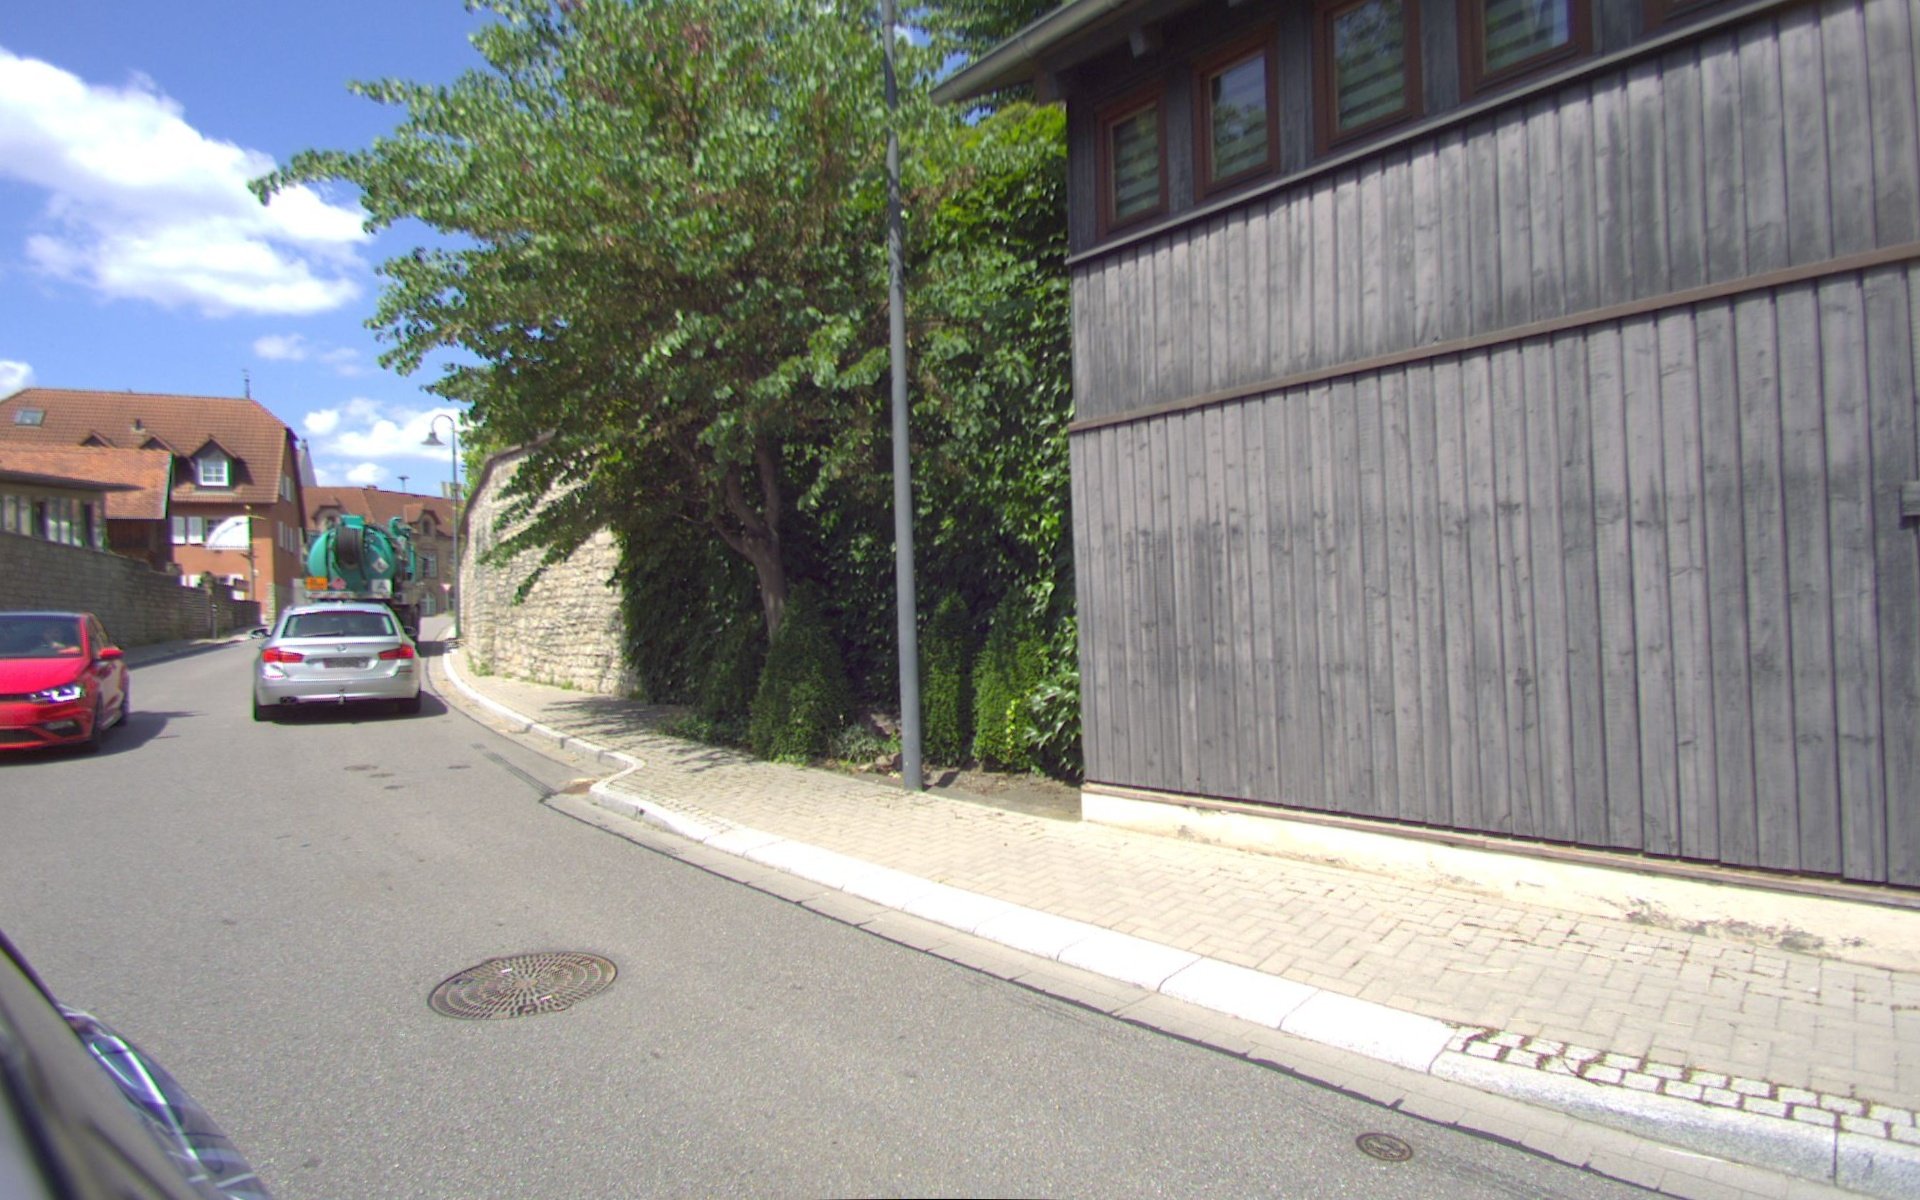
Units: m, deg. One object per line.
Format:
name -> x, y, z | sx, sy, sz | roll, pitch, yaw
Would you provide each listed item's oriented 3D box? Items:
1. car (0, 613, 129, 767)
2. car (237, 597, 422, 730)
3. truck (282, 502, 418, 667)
car -> -9.755, 0.833, 10.343 | 1.643, 1.362, 3.503 | 0, -1, -34
car -> -8.662, 0.778, 14.110 | 1.869, 1.512, 4.627 | 0, -1, -30
truck -> -16.183, -0.394, 27.370 | 2.378, 3.685, 9.599 | 0, 0, -27
